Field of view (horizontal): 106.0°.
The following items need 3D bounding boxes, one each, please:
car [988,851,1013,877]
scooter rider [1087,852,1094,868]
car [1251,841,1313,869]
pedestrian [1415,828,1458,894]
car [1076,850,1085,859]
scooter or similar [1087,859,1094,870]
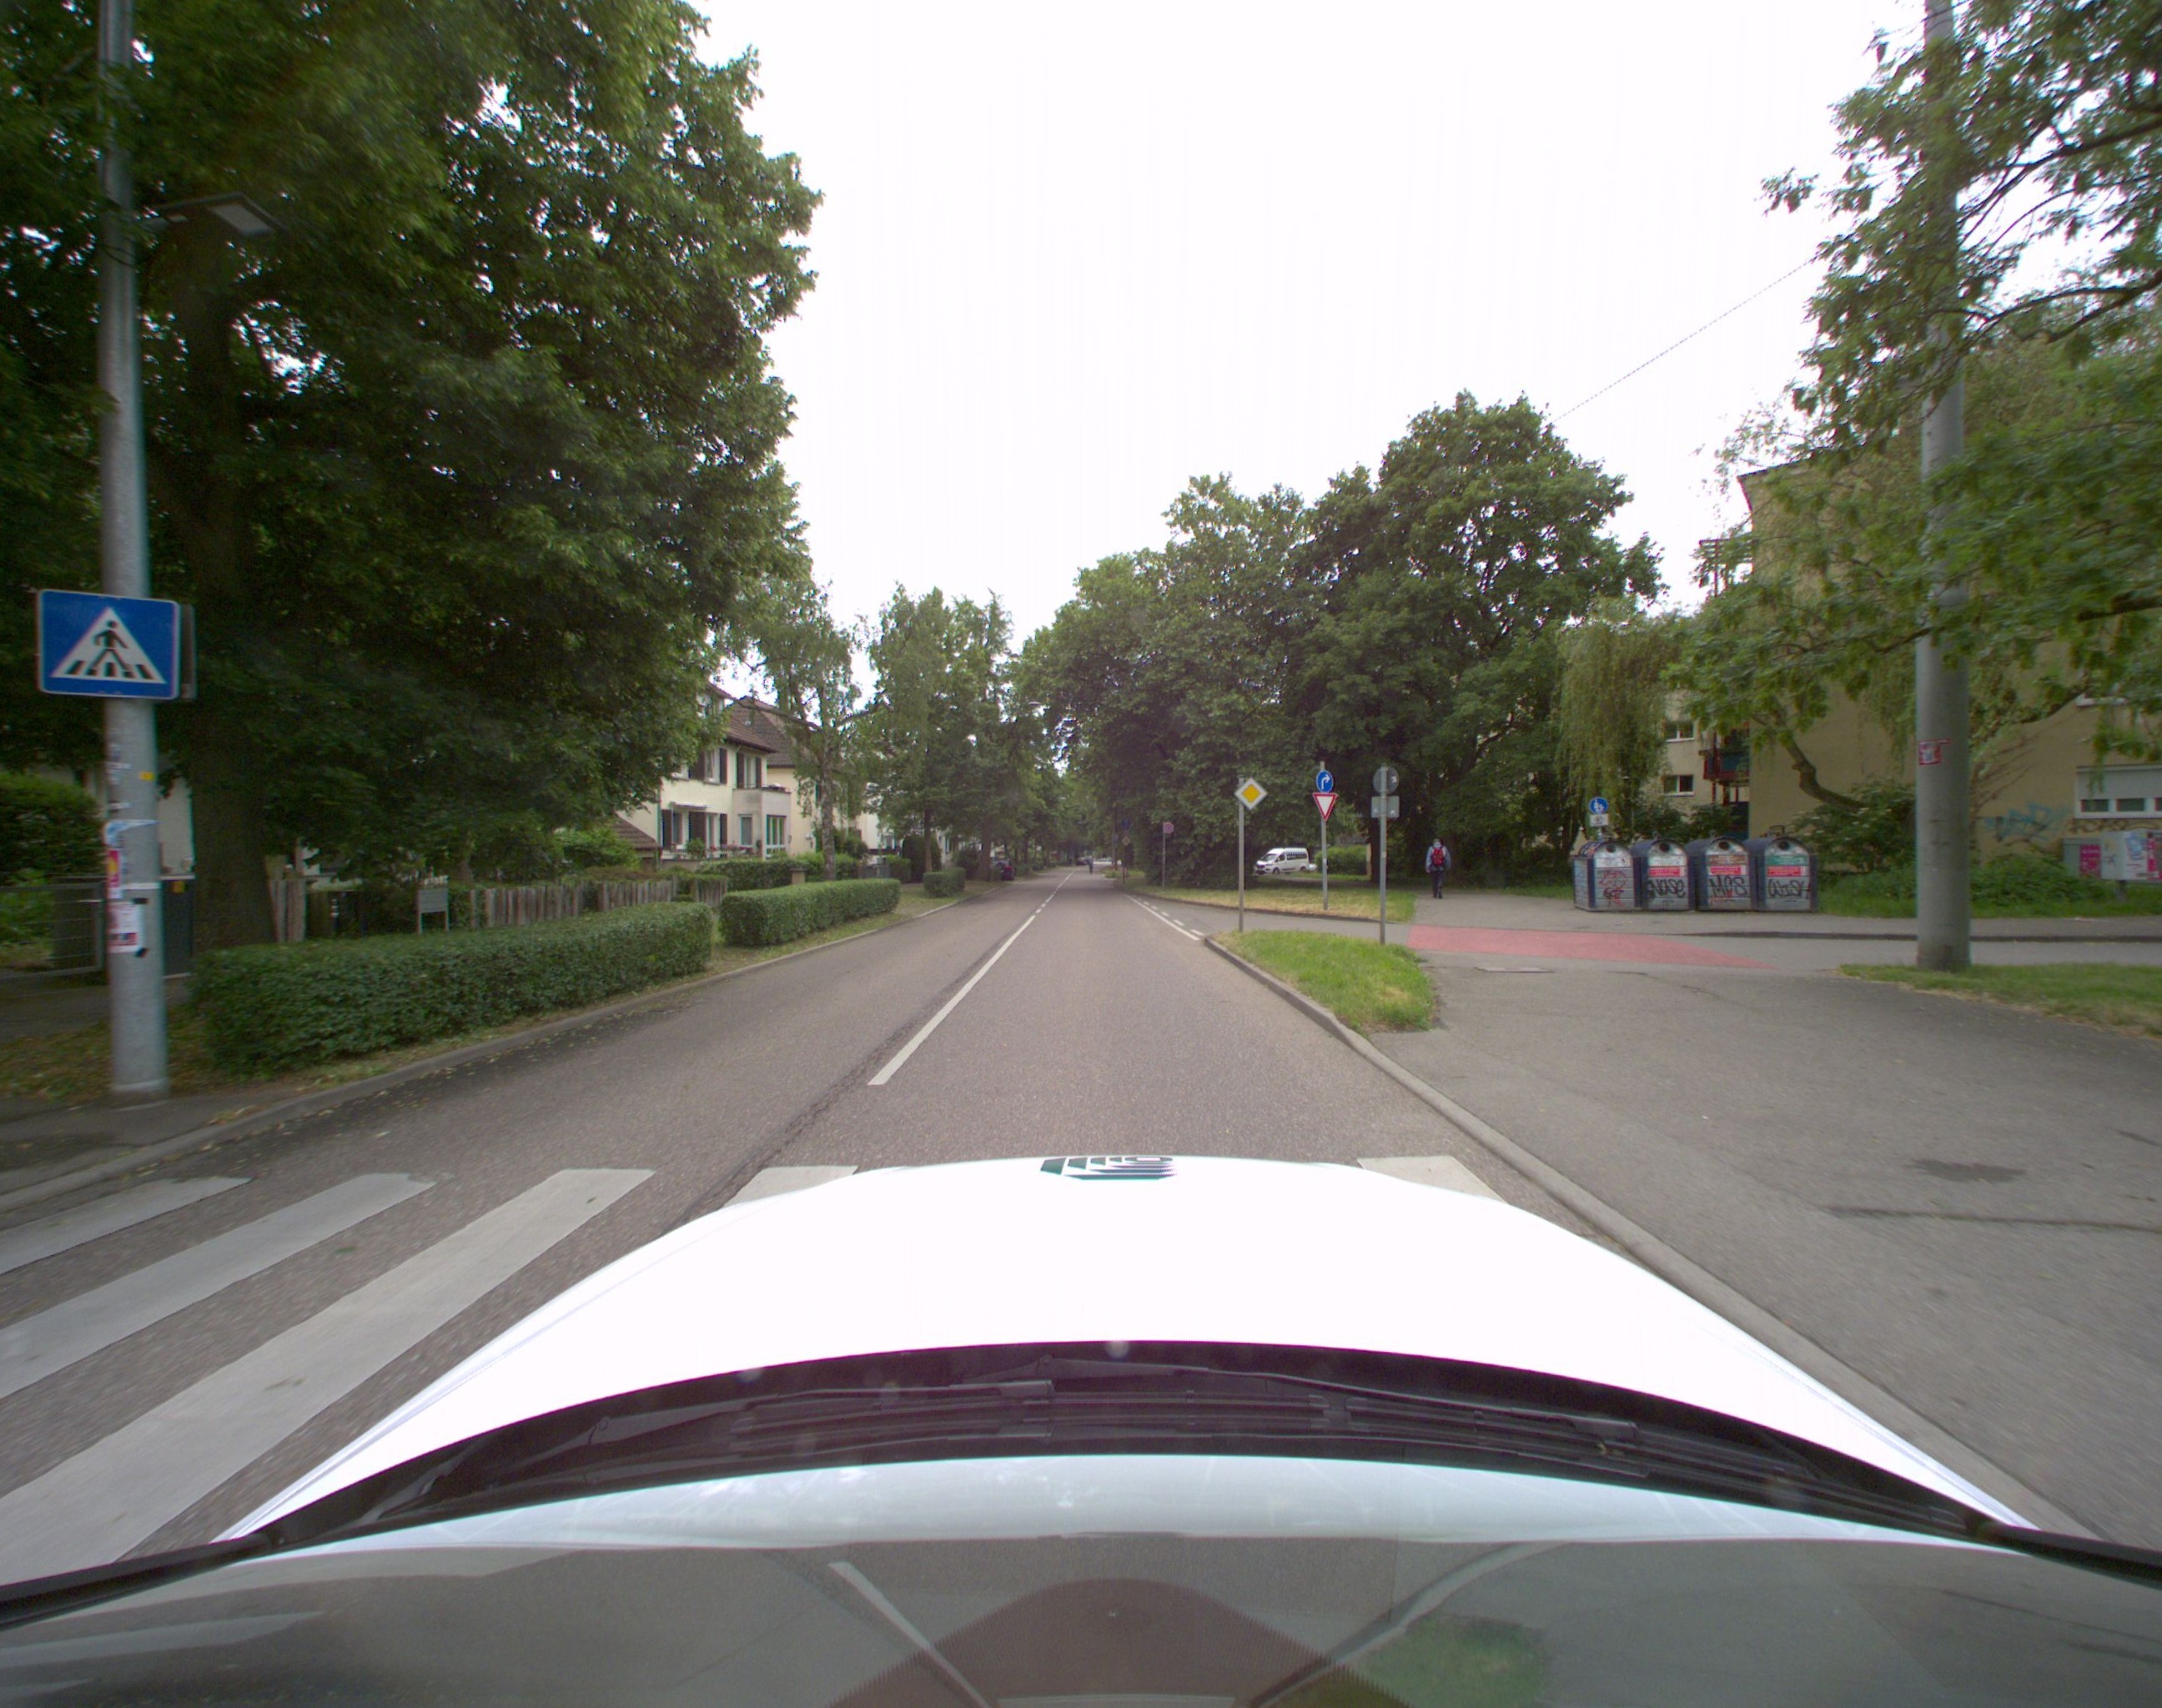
[{"bbox_3d":[-5.894,0.701,59.943,1.639,1.724,3.796,2,2,-4],"label":"car"},{"bbox_3d":[0.961,0.571,82.044,0.598,1.552,0.566,-1,2,2],"label":"scooter rider"},{"bbox_3d":[17.463,0.102,70.713,5.408,2.296,2.115,1,3,-35],"label":"car"},{"bbox_3d":[10.814,0.200,24.802,0.917,1.871,1.023,-4,3,13],"label":"pedestrian"},{"bbox_3d":[-0.154,0.098,167.627,1.828,1.498,3.656,2,2,0],"label":"car"},{"bbox_3d":[0.965,1.013,81.910,0.598,1.054,0.874,-1,2,3],"label":"scooter or similar"}]
